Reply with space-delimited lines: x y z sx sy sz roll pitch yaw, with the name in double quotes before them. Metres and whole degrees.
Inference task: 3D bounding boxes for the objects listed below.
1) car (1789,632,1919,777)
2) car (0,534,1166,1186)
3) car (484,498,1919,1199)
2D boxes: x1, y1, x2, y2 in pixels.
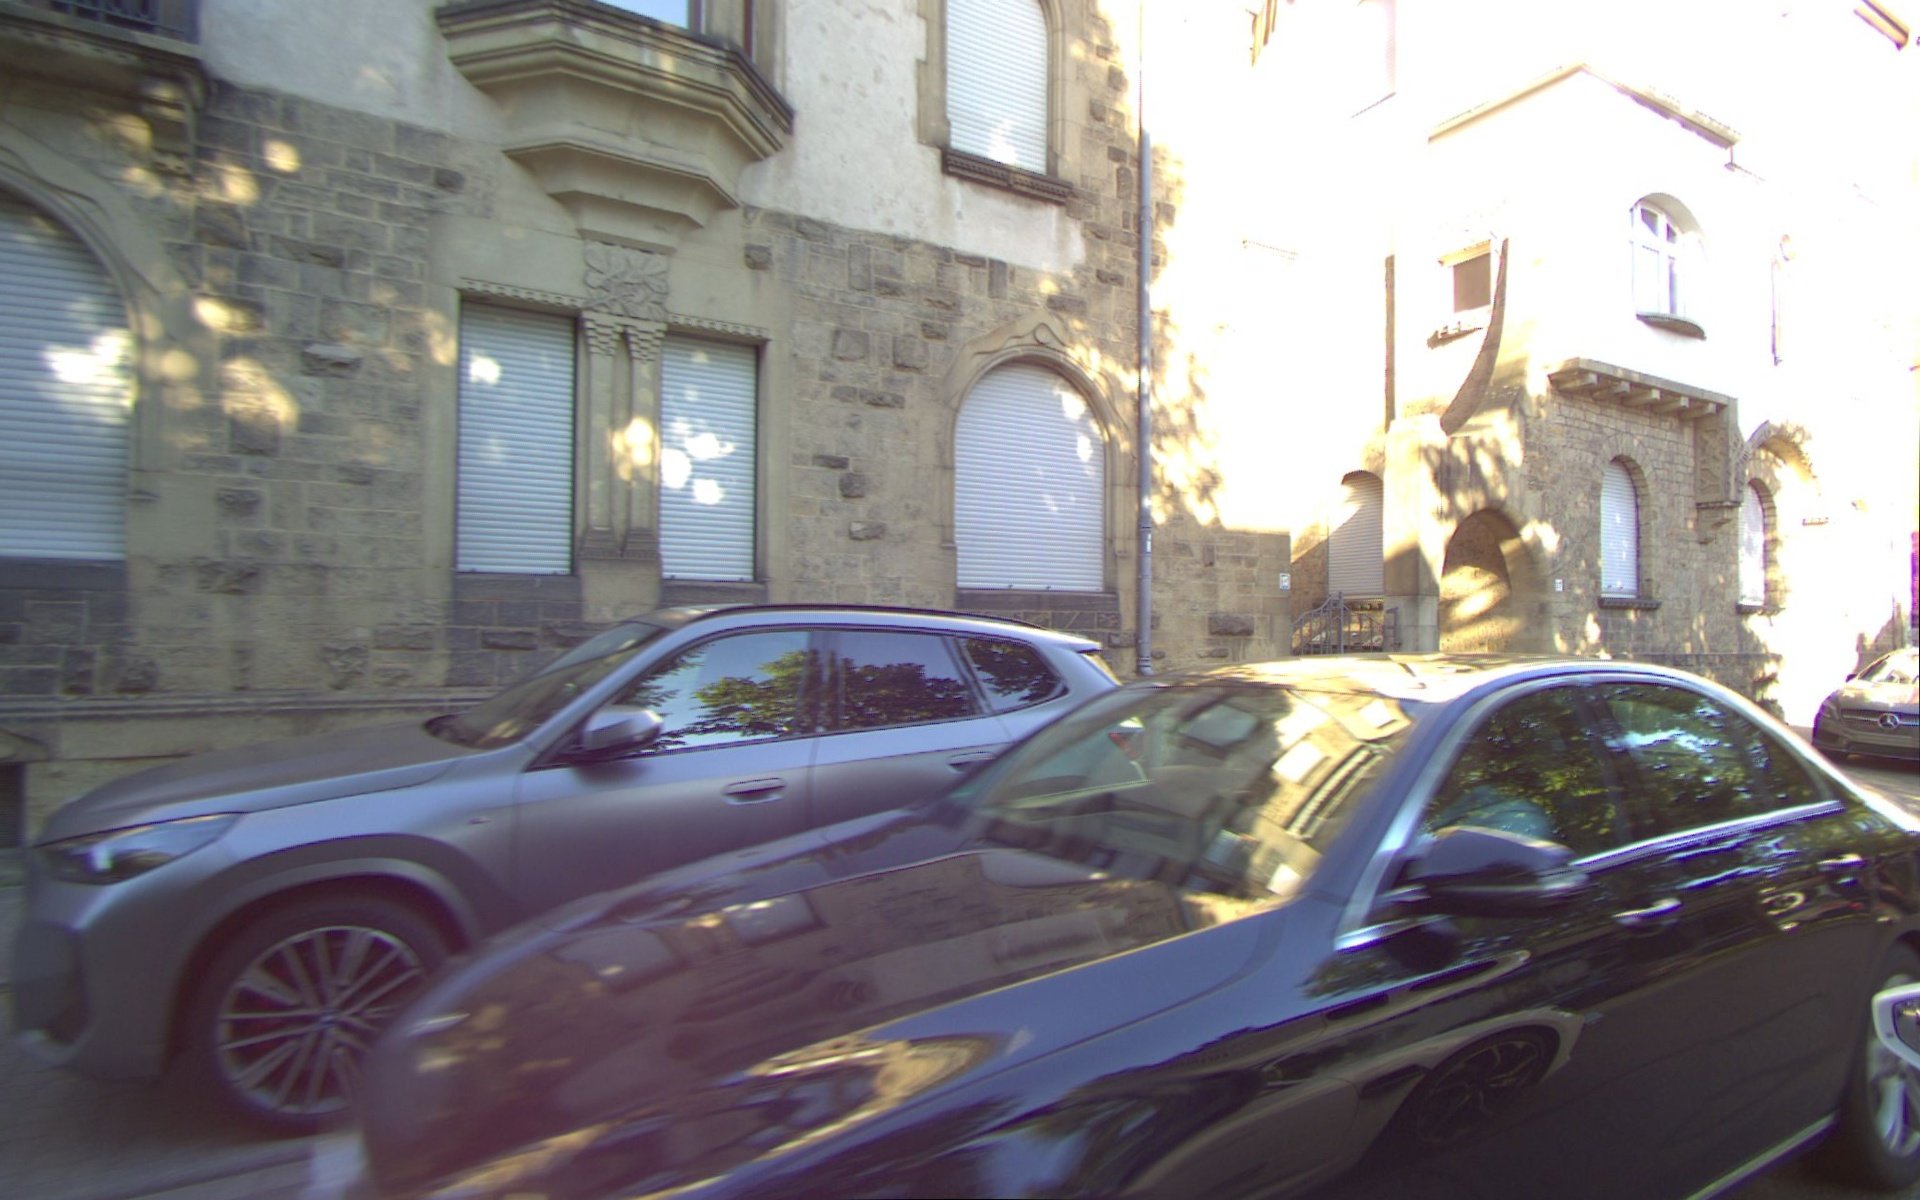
"car" 12.360 1.270 12.547 4.067 1.537 1.746 2 2 -31
"car" -1.409 0.759 4.403 4.348 1.643 2.038 3 -3 -32
"car" 1.147 0.797 2.824 4.330 1.505 1.888 3 -4 -30
